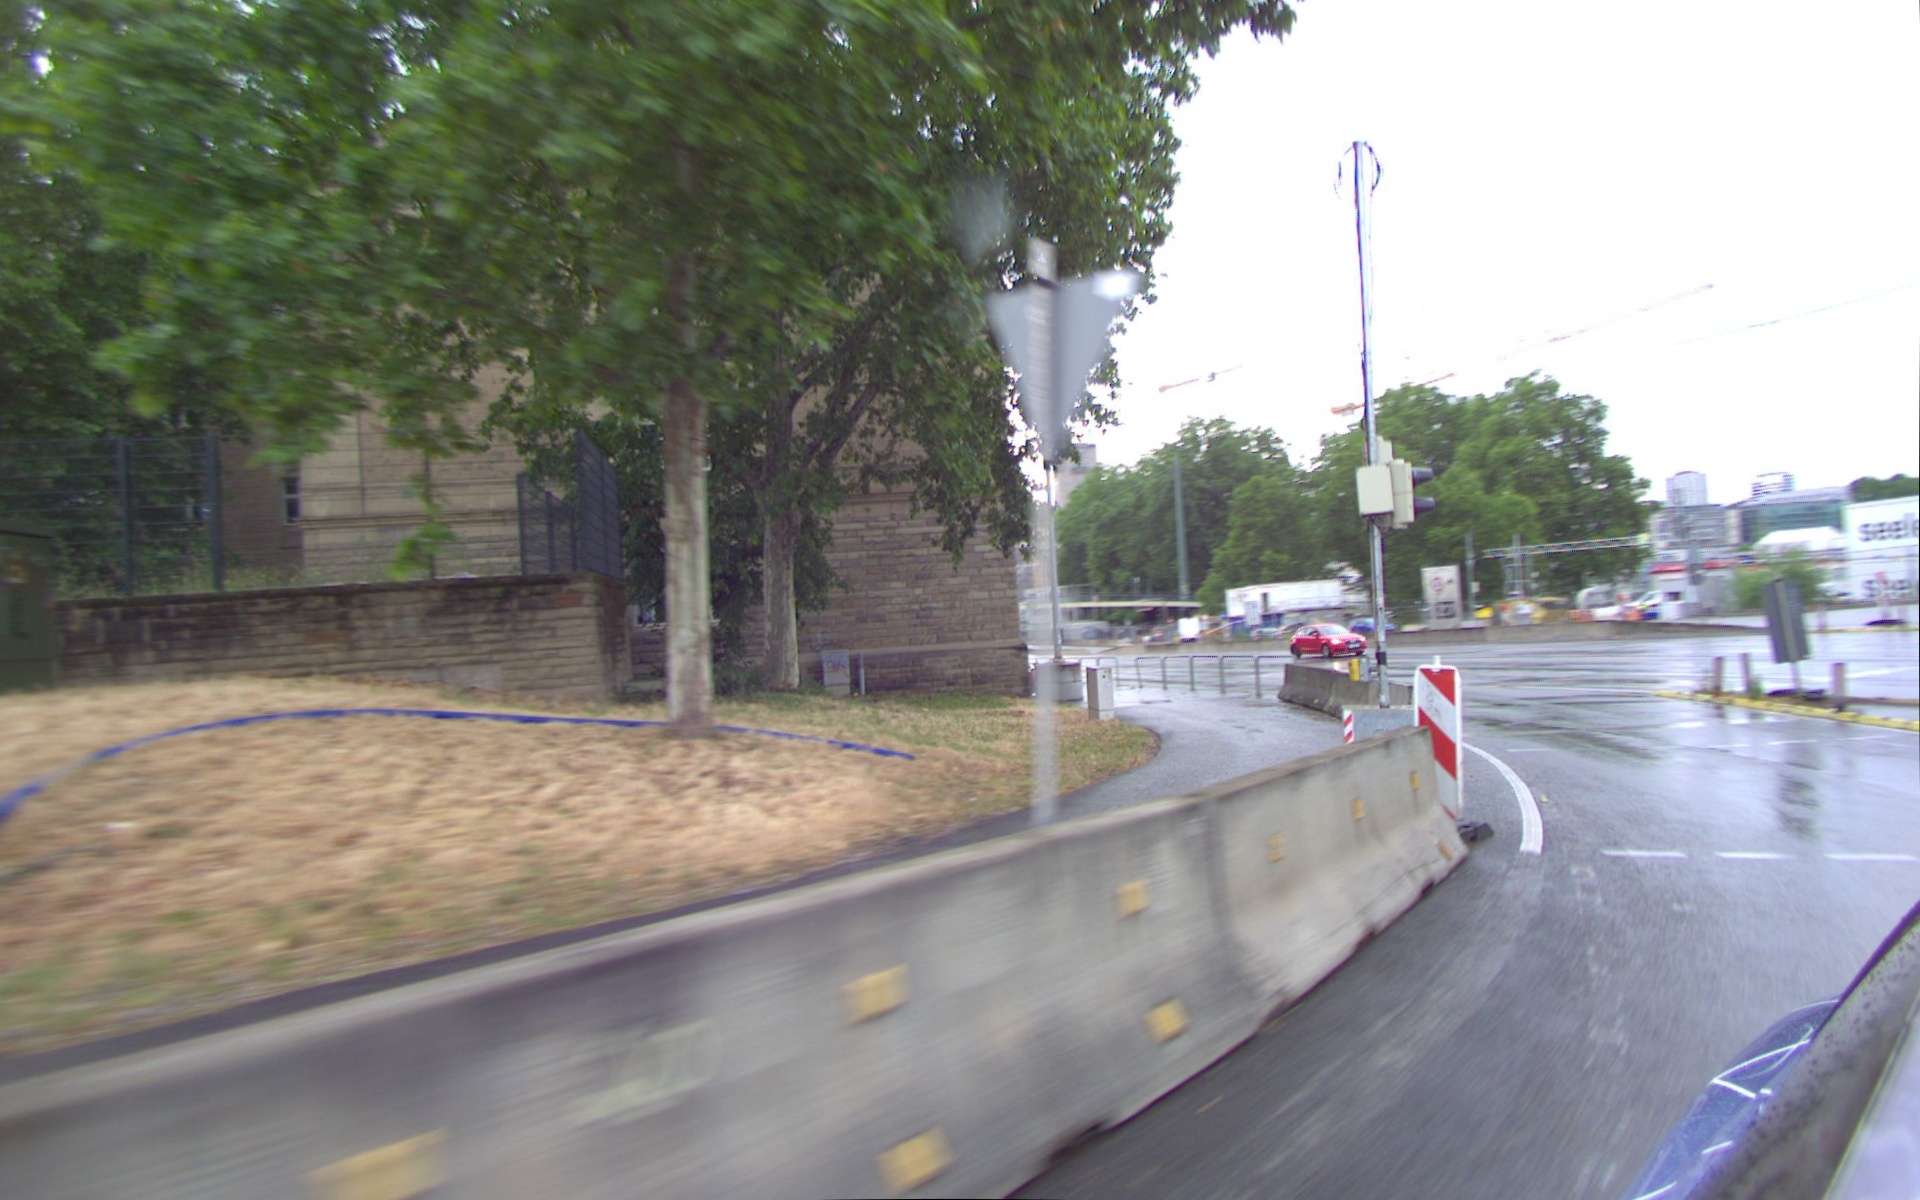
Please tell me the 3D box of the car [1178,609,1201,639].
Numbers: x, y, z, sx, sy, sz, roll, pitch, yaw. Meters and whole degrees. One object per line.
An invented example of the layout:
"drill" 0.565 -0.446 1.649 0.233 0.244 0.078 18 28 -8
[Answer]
"car" 23.056 2.412 101.663 2.049 2.773 4.573 -4 -2 13

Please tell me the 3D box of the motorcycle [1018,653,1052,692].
"motorcycle" 2.375 2.283 32.226 0.537 1.153 1.901 -3 -2 -11

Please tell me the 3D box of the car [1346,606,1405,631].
"car" 29.396 1.332 71.732 1.805 1.509 4.443 -4 -2 -6

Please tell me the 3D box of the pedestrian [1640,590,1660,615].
"pedestrian" 40.569 0.148 59.490 0.742 1.370 0.825 -7 -4 43

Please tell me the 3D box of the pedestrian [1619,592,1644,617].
"pedestrian" 39.548 0.260 59.602 0.730 1.370 0.838 -4 -3 -5

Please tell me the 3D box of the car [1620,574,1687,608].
"car" 57.267 -0.711 83.606 1.964 2.415 3.995 -2 -3 -37

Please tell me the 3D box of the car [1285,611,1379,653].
"car" 15.737 1.384 43.042 1.656 1.572 4.005 -4 -2 -14

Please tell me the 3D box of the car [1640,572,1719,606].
"car" 59.796 -0.913 84.152 4.930 2.415 1.969 -6 -3 43

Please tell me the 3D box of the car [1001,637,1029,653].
"car" 6.076 5.004 111.818 1.948 1.596 4.445 -3 -2 -12

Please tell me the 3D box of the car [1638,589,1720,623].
"car" 41.016 0.349 57.750 3.919 1.527 2.002 -4 -2 -24

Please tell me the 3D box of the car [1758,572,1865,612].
"car" 47.565 -0.424 56.606 1.958 1.965 4.006 -2 -2 -21

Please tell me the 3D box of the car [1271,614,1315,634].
"car" 27.963 2.063 85.072 1.805 1.509 4.442 -4 -2 -5
